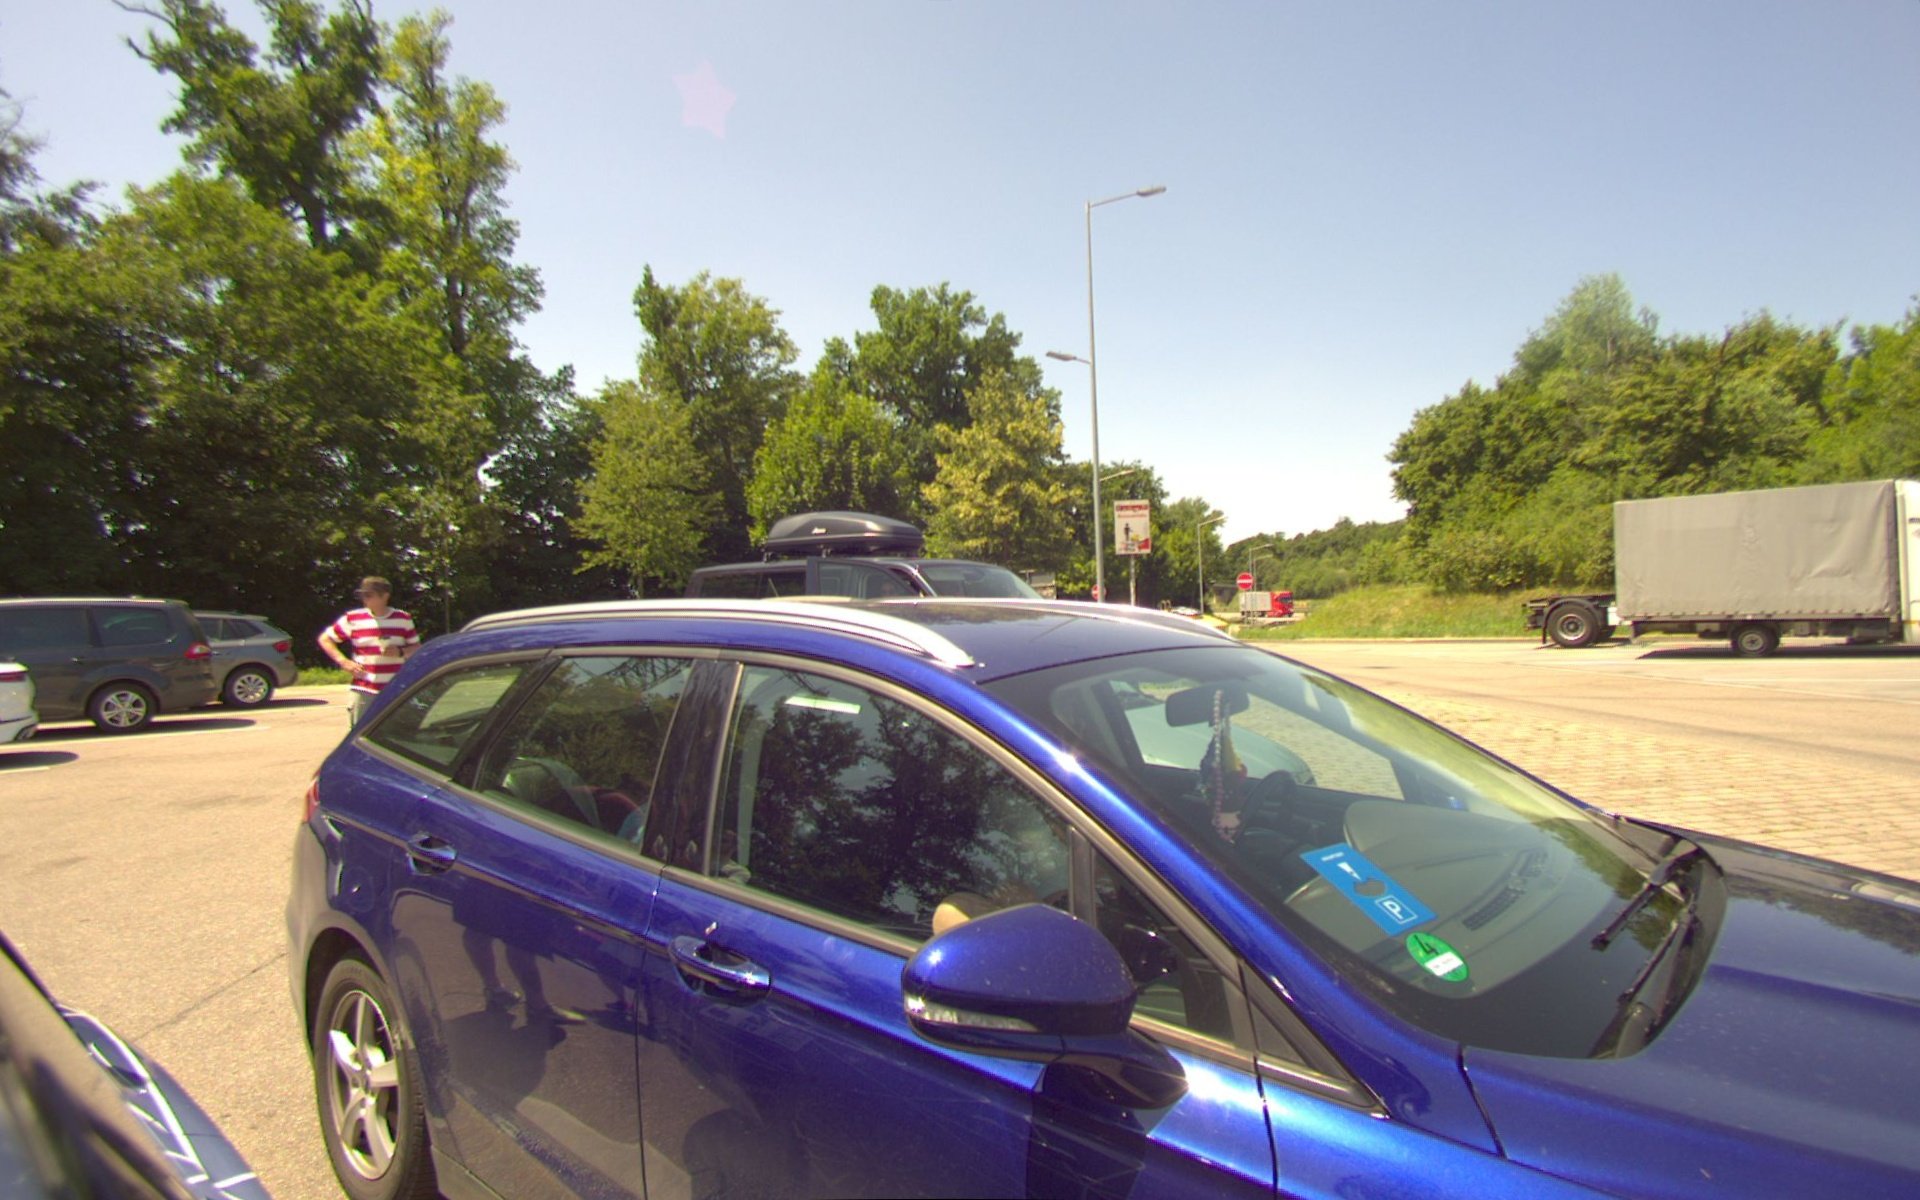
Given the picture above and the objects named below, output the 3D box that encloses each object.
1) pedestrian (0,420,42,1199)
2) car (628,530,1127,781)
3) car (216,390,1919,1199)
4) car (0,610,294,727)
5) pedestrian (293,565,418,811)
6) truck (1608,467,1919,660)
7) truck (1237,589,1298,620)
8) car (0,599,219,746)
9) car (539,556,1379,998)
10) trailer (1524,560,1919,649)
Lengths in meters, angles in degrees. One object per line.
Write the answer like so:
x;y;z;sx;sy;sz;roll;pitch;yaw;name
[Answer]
-2.738;0.521;2.248;0.905;1.919;0.816;-1;0;-33;pedestrian
-0.902;0.498;9.664;4.558;1.912;1.740;-3;0;32;car
0.222;0.634;2.079;4.569;1.482;1.735;-3;0;40;car
-12.632;0.970;15.670;3.767;1.572;1.654;-1;0;-38;car
-4.626;0.629;7.799;0.742;1.767;0.788;-1;0;-25;pedestrian
16.772;-0.647;19.015;7.274;3.269;2.678;-4;-1;42;truck
48.281;0.680;159.498;2.714;4.589;14.098;-1;0;-12;truck
-11.641;0.866;12.663;3.767;1.708;1.654;-1;0;-38;car
-0.332;0.669;5.616;4.569;1.517;1.735;-3;0;40;car
17.697;0.157;23.112;8.098;1.638;2.187;-4;-1;41;trailer
